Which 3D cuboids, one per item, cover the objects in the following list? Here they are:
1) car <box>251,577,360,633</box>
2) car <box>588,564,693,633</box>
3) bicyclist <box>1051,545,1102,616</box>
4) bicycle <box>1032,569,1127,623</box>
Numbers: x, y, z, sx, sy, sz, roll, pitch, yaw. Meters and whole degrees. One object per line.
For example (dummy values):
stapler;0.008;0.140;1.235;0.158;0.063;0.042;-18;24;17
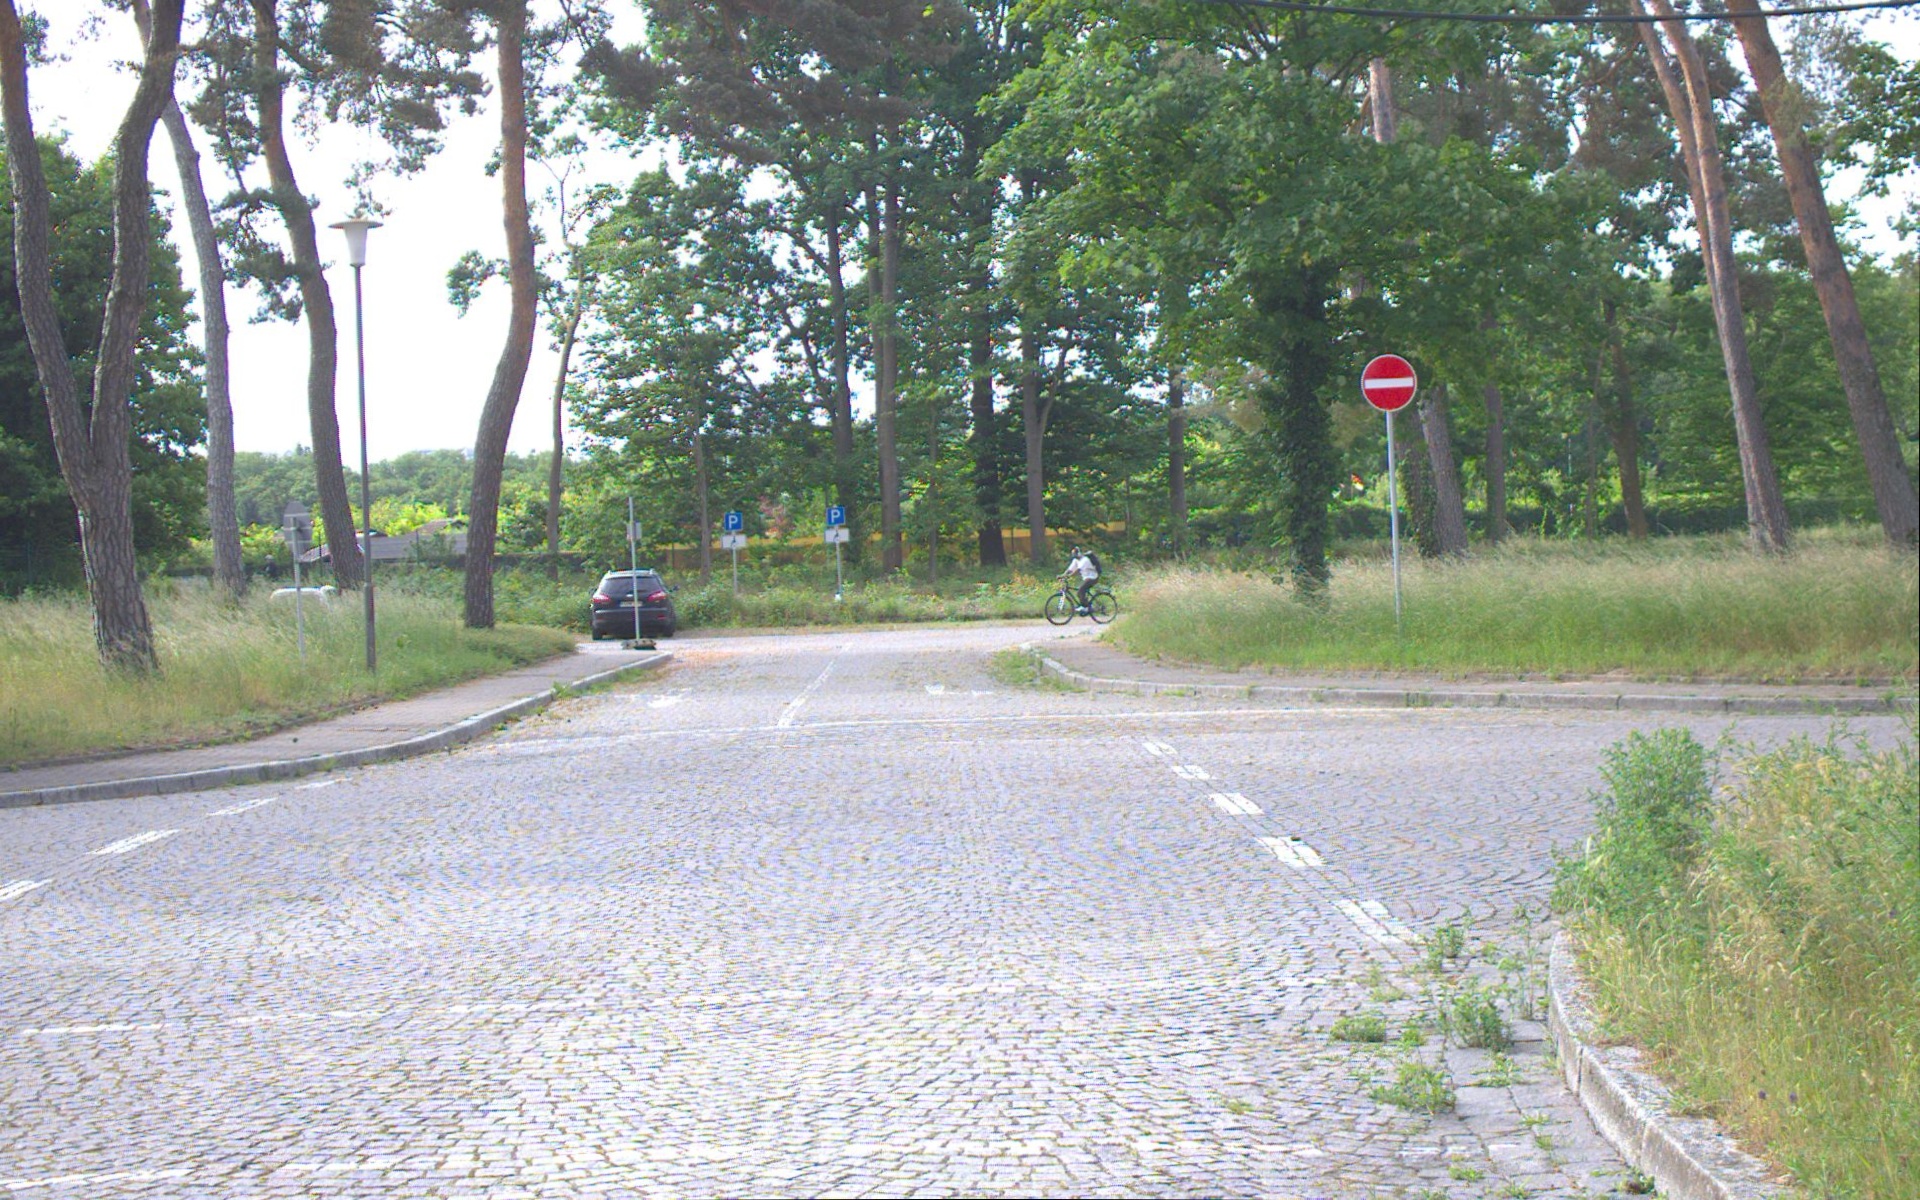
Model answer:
car;-15.020;0.091;79.042;1.689;1.152;4.000;-2;1;0
car;-7.249;-0.057;78.298;1.993;1.503;4.000;0;1;0
bicyclist;2.545;-0.438;75.313;0.974;1.505;0.807;-2;1;-4
bicycle;2.613;-0.096;75.351;1.986;1.091;0.810;-2;1;-3
